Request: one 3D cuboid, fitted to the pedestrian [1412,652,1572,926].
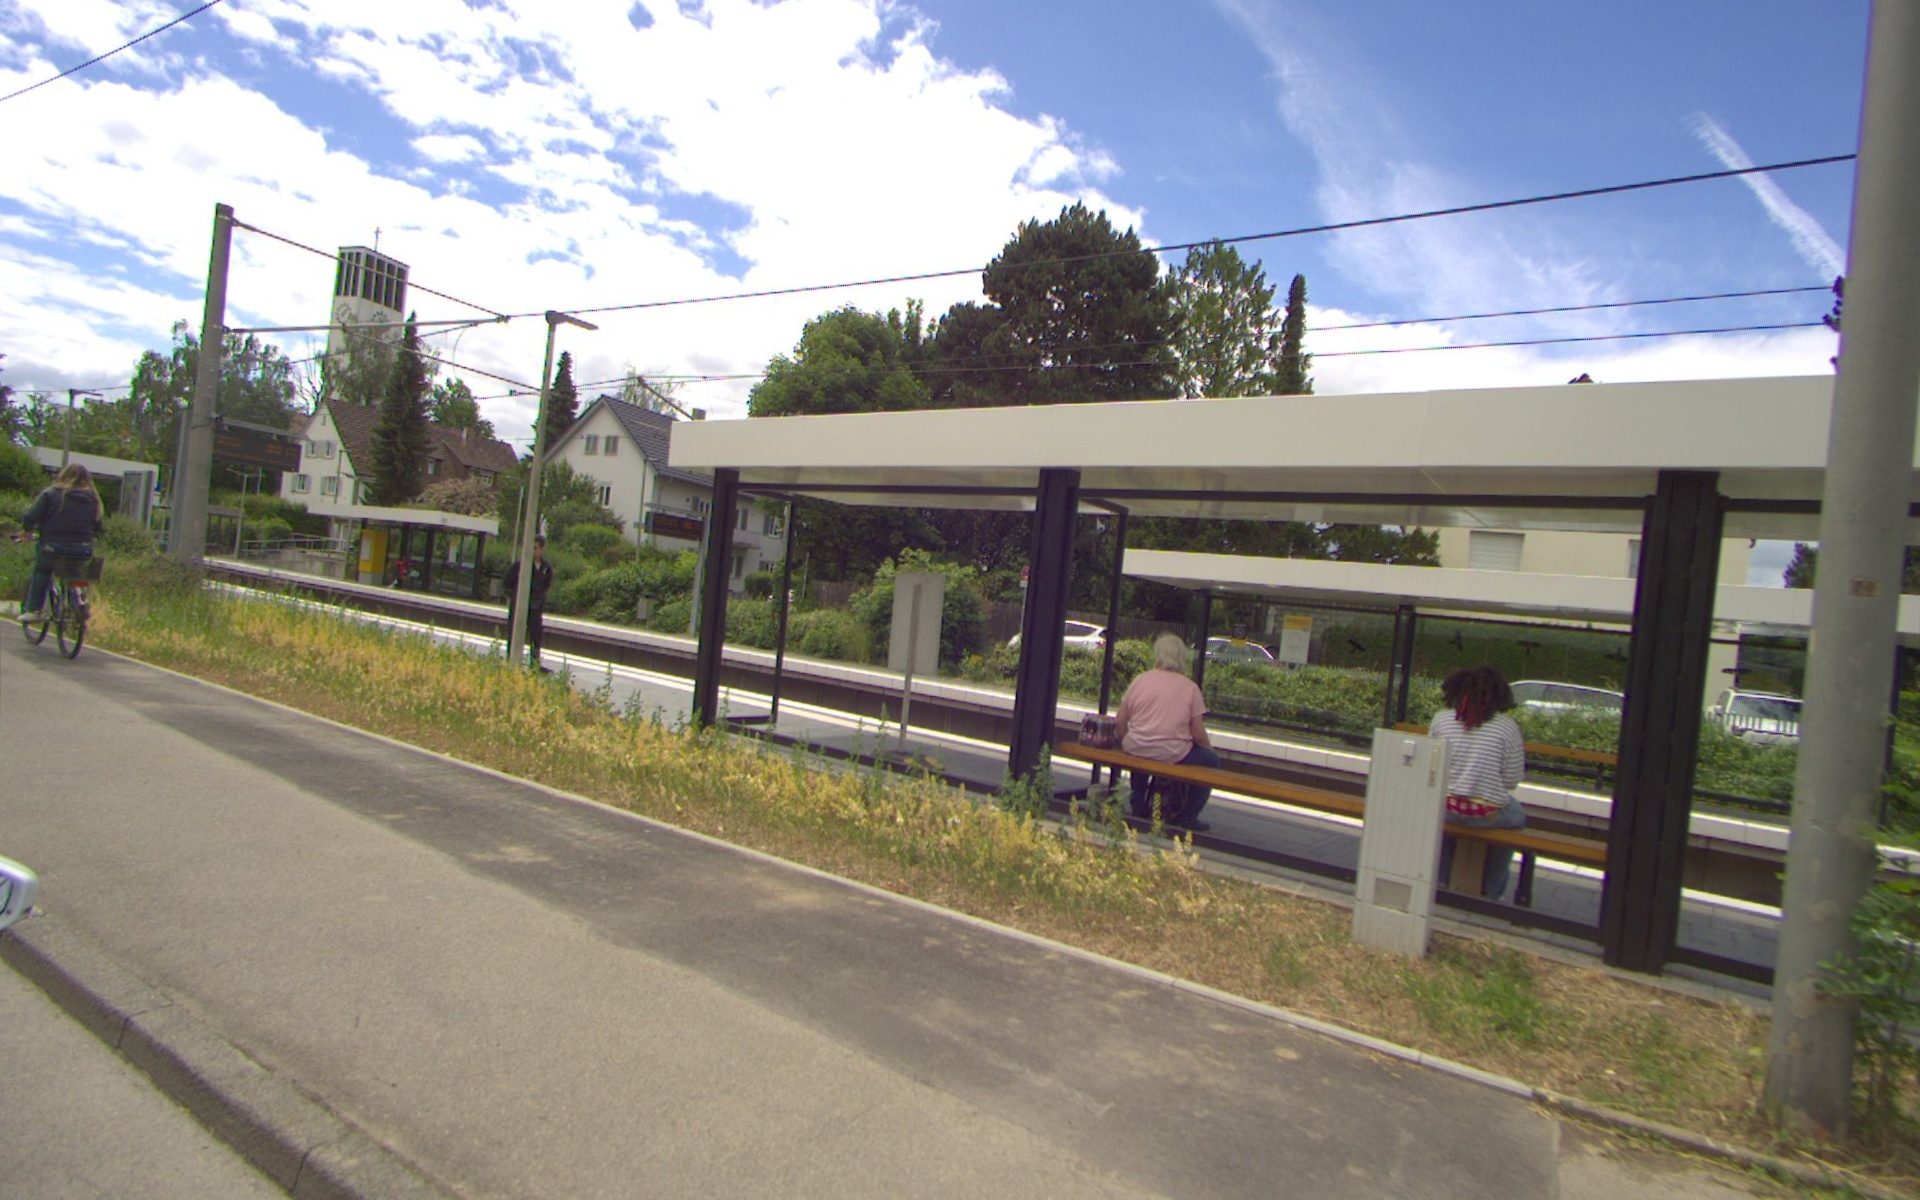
[{"bbox_3d":[2.852,0.994,5.418,0.479,1.360,0.396,8,0,-4],"label":"pedestrian"}]

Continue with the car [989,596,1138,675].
[{"bbox_3d":[3.011,1.014,29.643,3.876,1.772,1.732,7,-1,39],"label":"car"}]

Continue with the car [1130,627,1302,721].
[{"bbox_3d":[6.745,1.937,26.615,3.876,1.935,1.734,5,-3,37],"label":"car"}]

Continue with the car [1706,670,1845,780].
[{"bbox_3d":[18.688,2.771,23.261,1.717,1.969,4.329,7,2,31],"label":"car"}]

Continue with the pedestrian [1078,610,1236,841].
[{"bbox_3d":[1.341,0.826,6.821,0.727,1.396,0.583,7,0,33],"label":"pedestrian"}]

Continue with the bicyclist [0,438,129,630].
[{"bbox_3d":[-8.518,-0.619,9.506,0.805,1.669,0.640,7,0,31],"label":"bicyclist"}]

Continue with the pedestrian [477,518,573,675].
[{"bbox_3d":[-5.151,-0.035,11.918,0.645,1.745,0.637,7,-1,40],"label":"pedestrian"}]

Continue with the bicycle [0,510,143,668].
[{"bbox_3d":[-8.751,-0.152,9.611,2.356,1.261,0.619,7,0,32],"label":"bicycle"}]

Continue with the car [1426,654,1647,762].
[{"bbox_3d":[12.606,2.322,22.172,3.933,1.682,1.779,7,-1,31],"label":"car"}]
